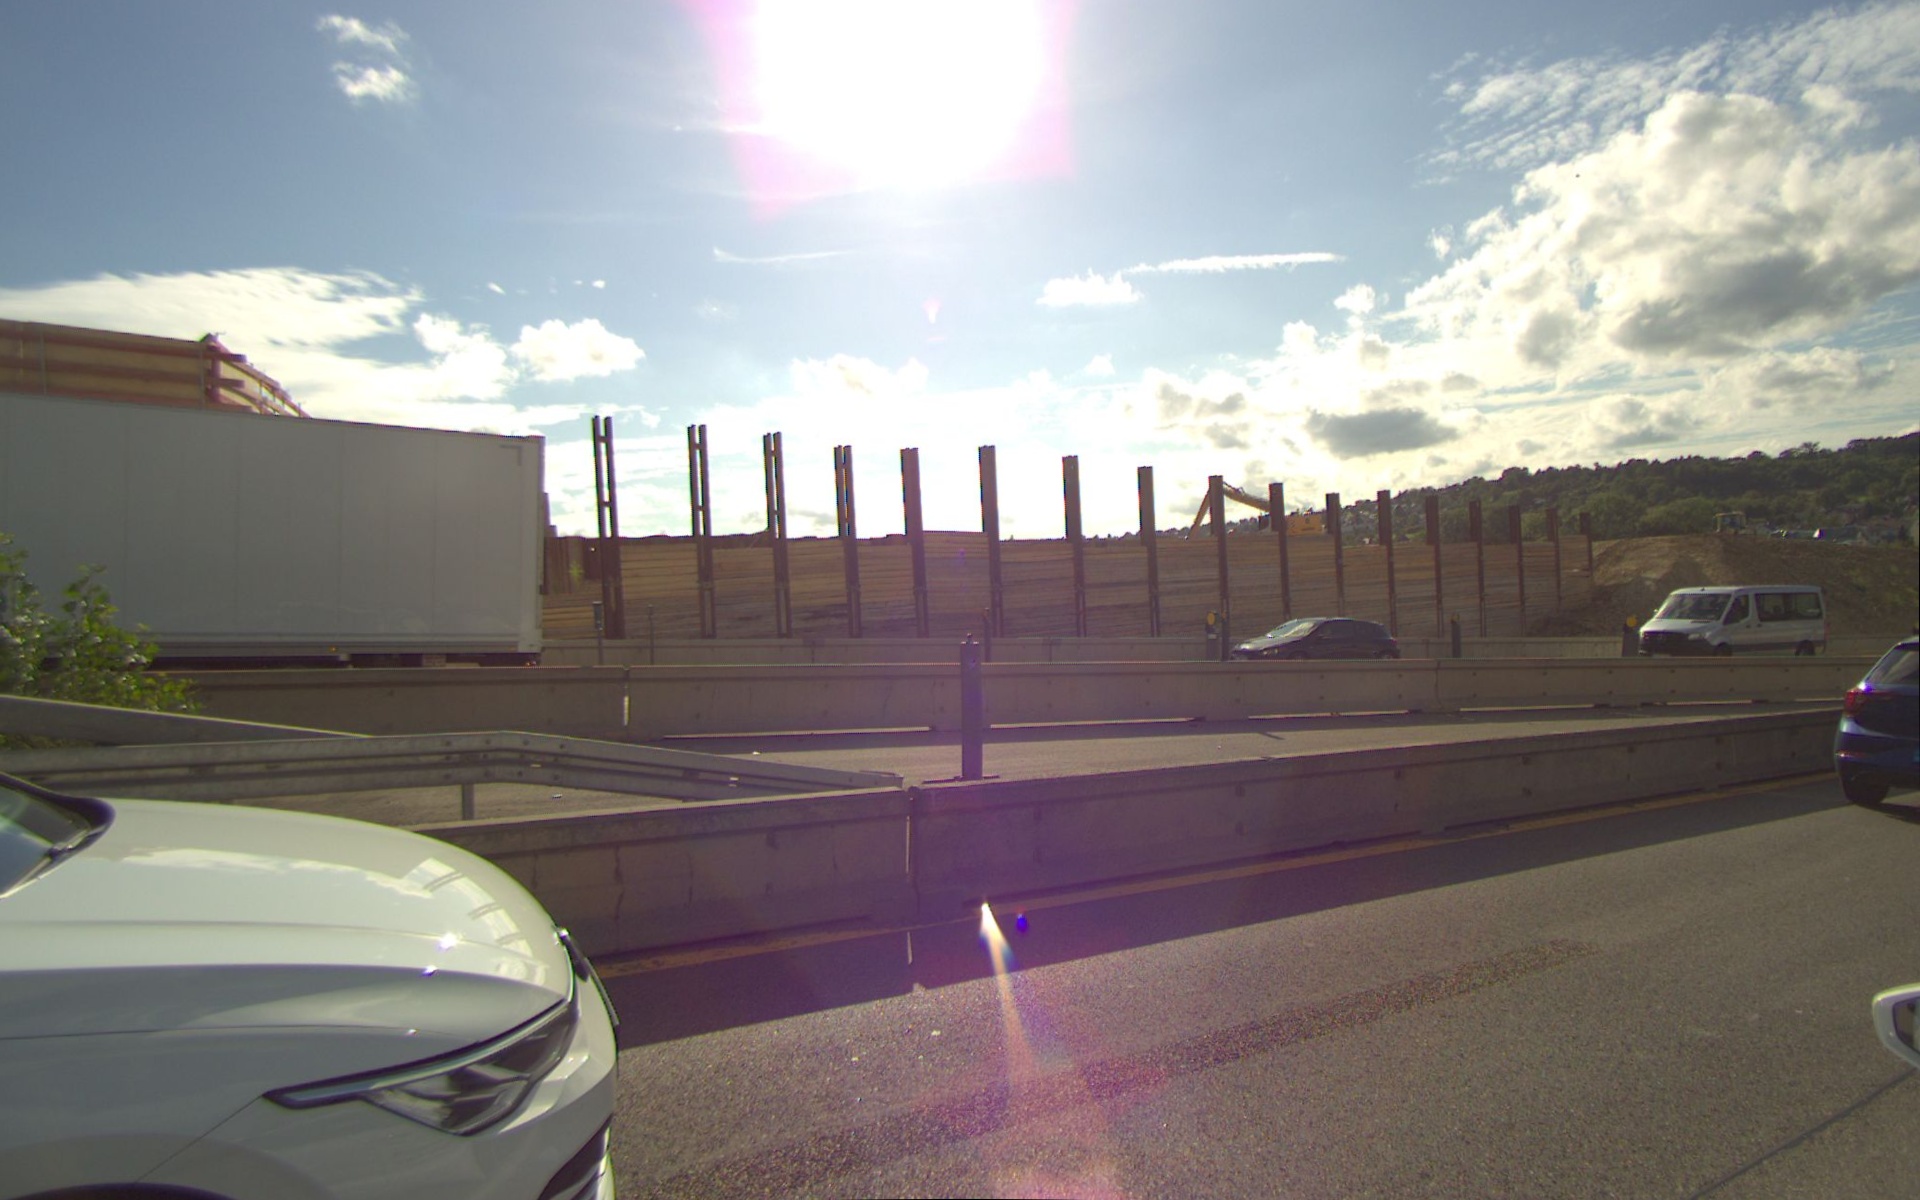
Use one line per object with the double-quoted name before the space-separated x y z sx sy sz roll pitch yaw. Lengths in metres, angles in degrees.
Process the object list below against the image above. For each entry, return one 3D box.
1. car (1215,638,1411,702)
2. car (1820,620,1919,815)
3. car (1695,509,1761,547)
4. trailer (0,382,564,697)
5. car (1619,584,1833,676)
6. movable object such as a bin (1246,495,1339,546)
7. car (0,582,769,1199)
"car" 8.075 1.584 23.030 3.941 1.289 1.917 2 -1 -21
"car" 8.983 0.947 8.326 3.956 1.441 1.712 2 -1 -32
"car" 56.095 -5.231 73.361 5.262 2.167 1.984 2 -6 -32
"trailer" -12.799 -0.761 13.513 13.630 3.892 2.809 2 0 -28
"car" 21.786 0.870 28.543 5.784 2.434 2.253 2 0 -23
"movable object such as a bin" 26.207 -6.190 79.433 4.441 3.314 5.740 2 -1 -19
"car" -2.706 0.728 1.458 4.461 1.510 1.763 1 -2 -29
